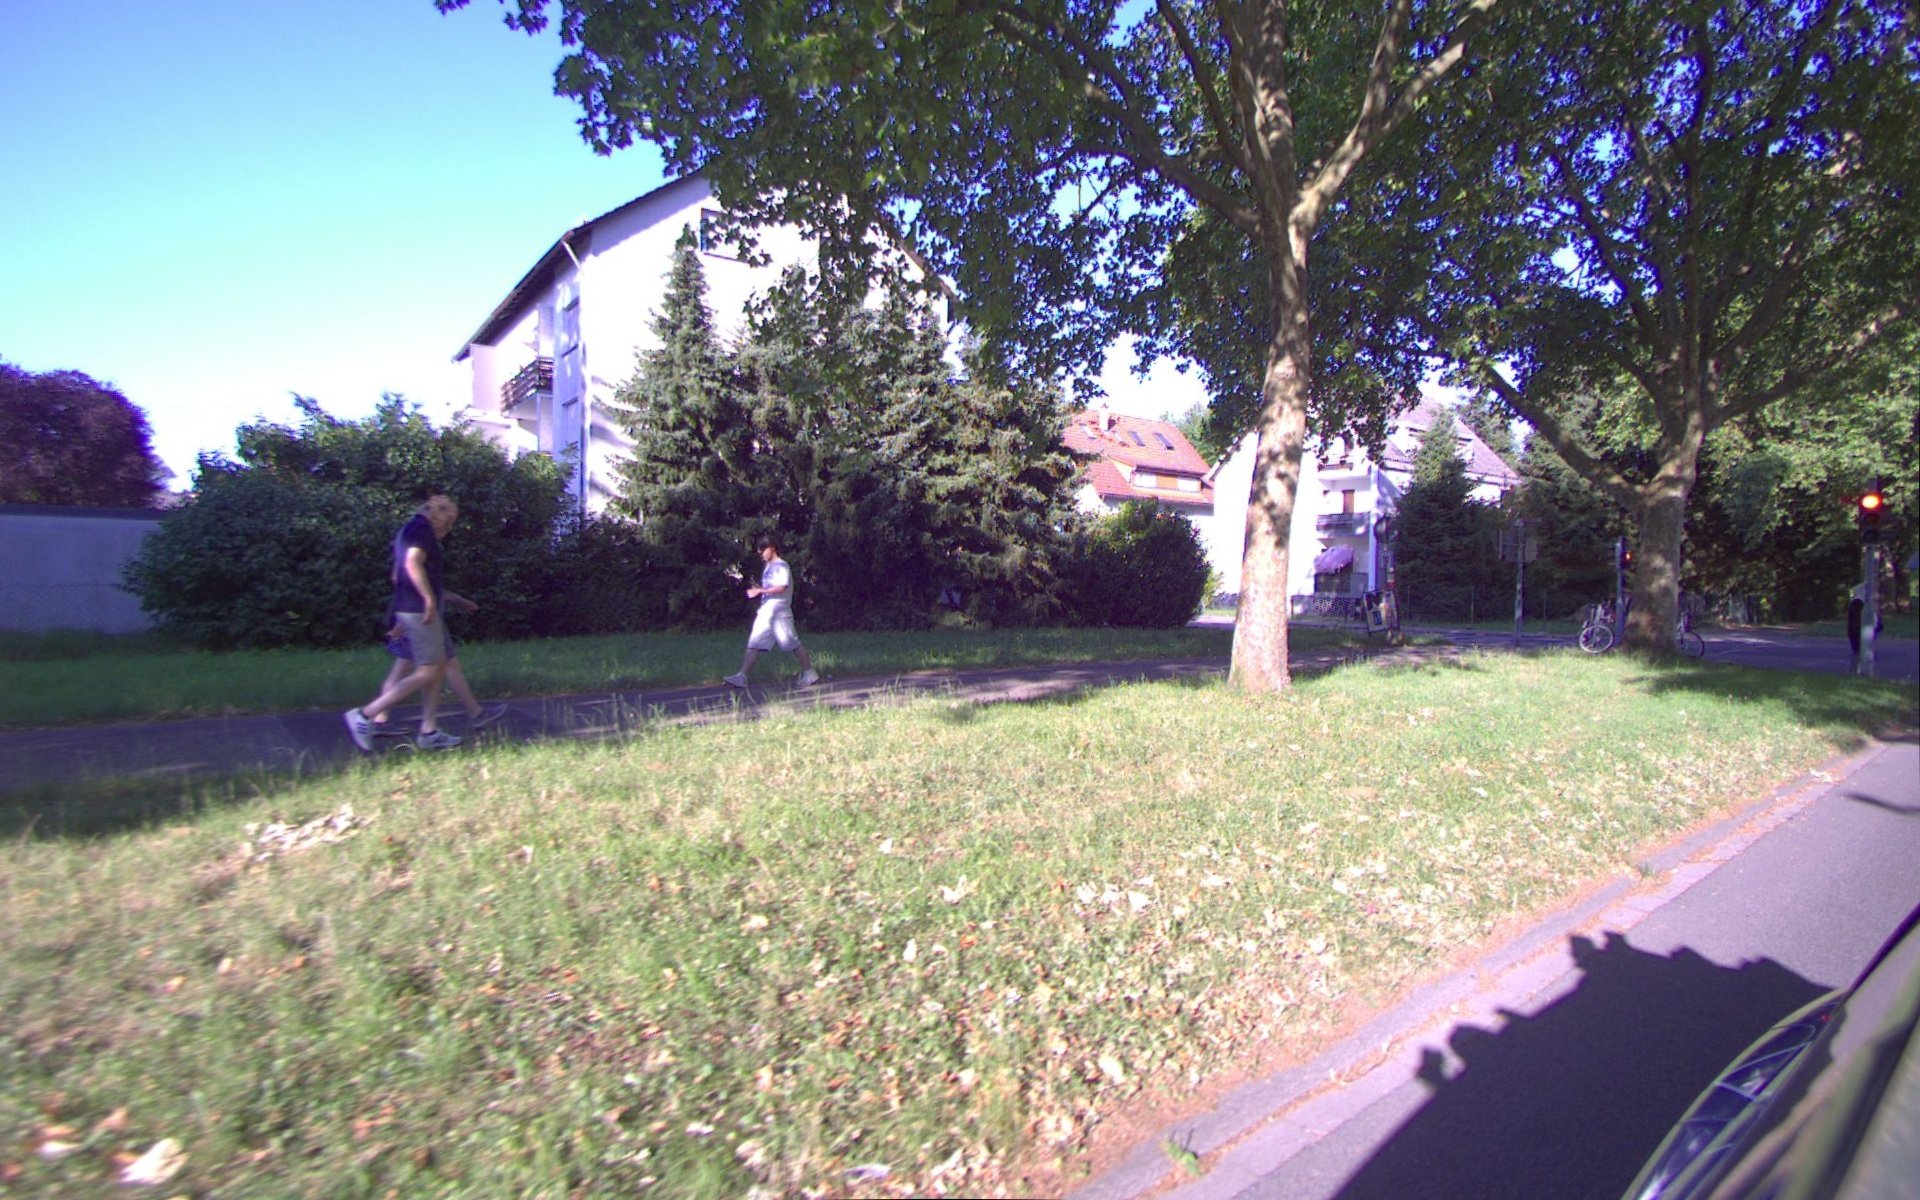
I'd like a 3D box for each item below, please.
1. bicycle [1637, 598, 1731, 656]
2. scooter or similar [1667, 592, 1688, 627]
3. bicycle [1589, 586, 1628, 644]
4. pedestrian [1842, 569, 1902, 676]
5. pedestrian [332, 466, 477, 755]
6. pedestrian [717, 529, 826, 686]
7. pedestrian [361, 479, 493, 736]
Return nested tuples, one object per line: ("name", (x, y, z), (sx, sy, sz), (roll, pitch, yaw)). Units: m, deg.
("bicycle", (14.512, 0.523, 20.343), (0.437, 1.048, 1.722), (3, 1, -7))
("scooter or similar", (25.153, 0.335, 35.464), (1.234, 1.211, 0.382), (0, 0, -44))
("bicycle", (13.184, 0.296, 20.604), (0.442, 1.096, 1.988), (3, 1, 28))
("pedestrian", (15.420, 0.360, 17.121), (0.634, 1.740, 0.814), (4, 3, 41))
("pedestrian", (-3.893, 0.056, 7.081), (0.773, 1.869, 0.763), (0, 1, -38))
("pedestrian", (-2.114, 0.063, 11.379), (0.775, 1.670, 0.929), (2, 1, 29))
("pedestrian", (-4.178, 0.045, 7.928), (0.787, 1.870, 0.756), (0, 1, -38))
